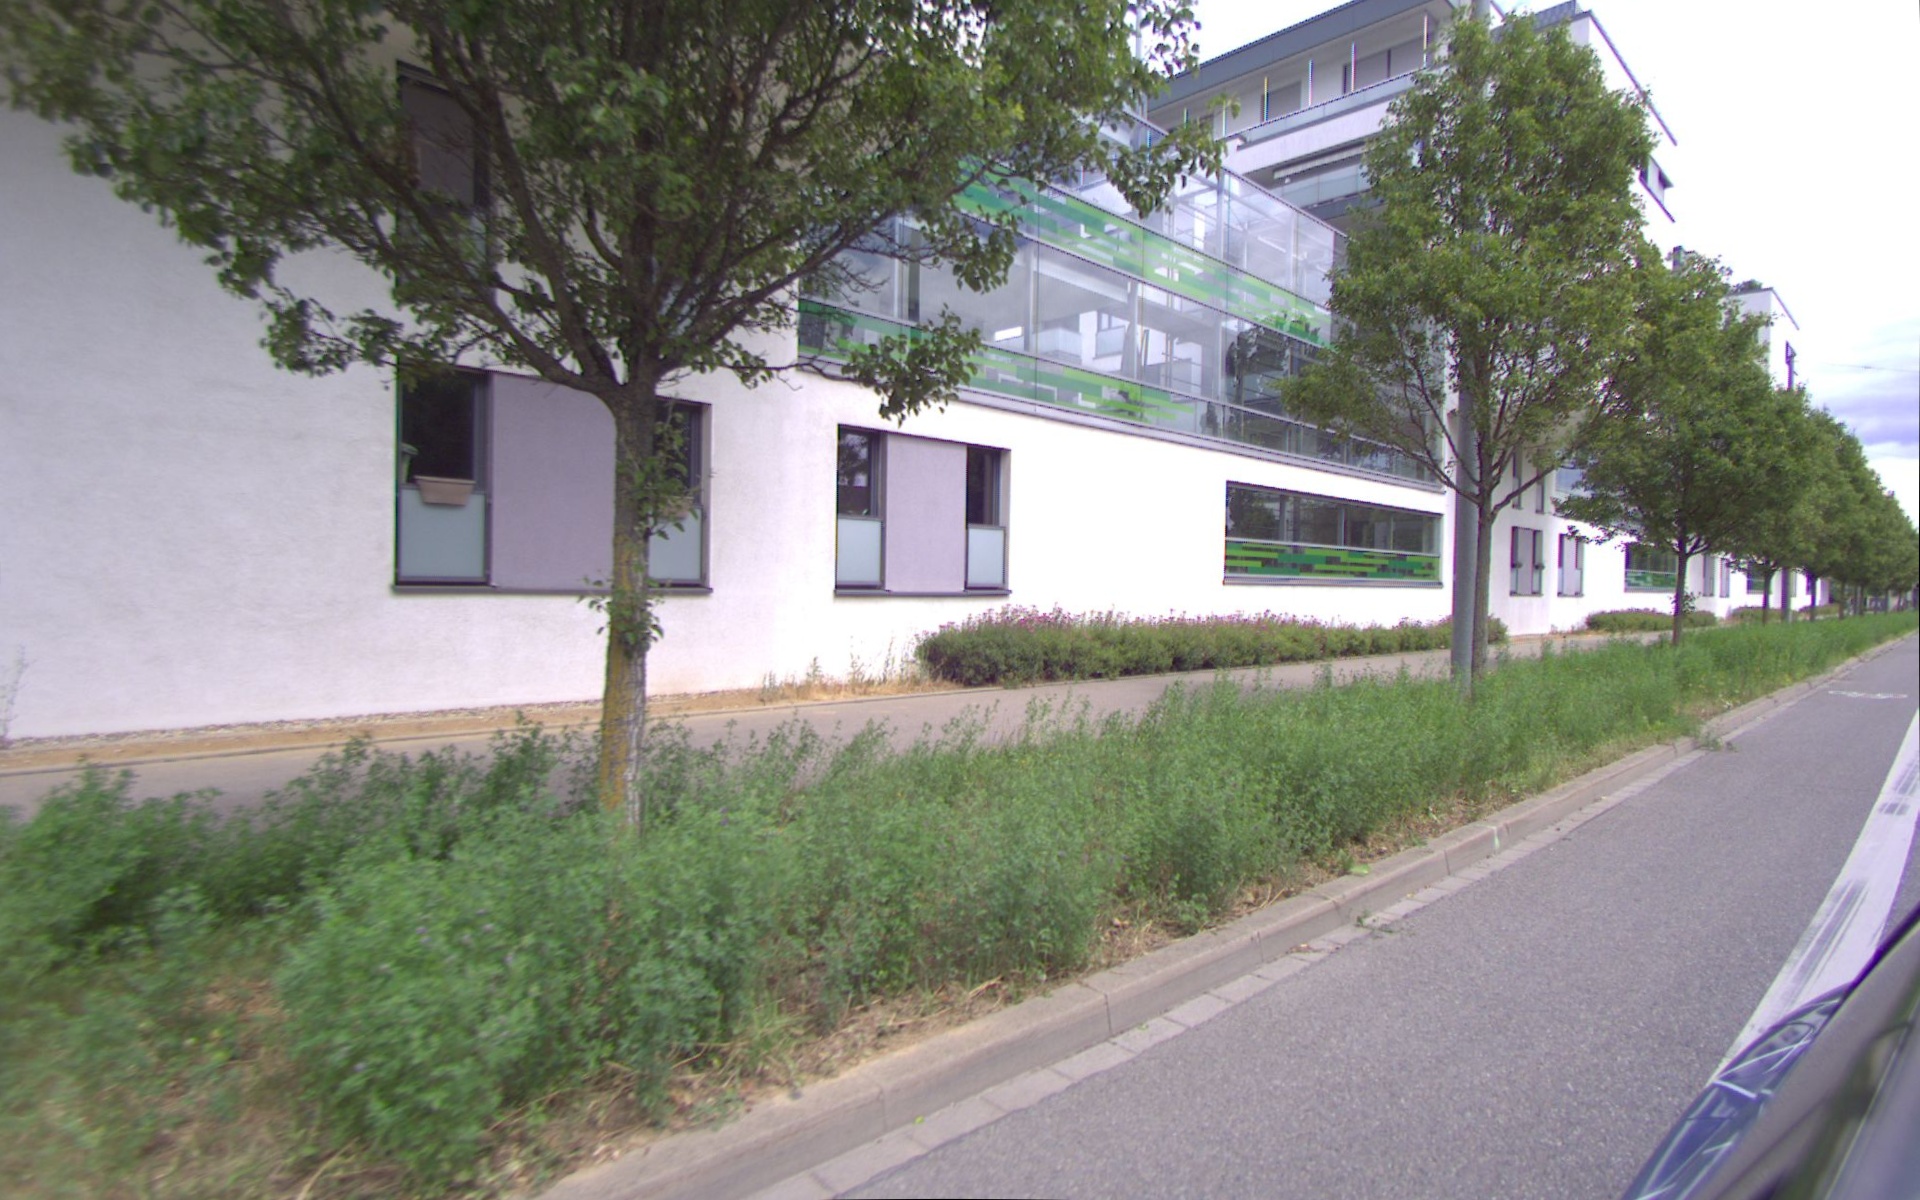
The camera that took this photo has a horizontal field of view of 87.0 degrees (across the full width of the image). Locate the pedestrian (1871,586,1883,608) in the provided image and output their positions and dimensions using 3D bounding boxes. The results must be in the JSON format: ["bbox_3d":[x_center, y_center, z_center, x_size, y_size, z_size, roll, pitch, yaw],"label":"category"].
[{"bbox_3d":[82.385,-0.268,90.904,0.739,1.910,0.691,-1,0,43],"label":"pedestrian"}]
